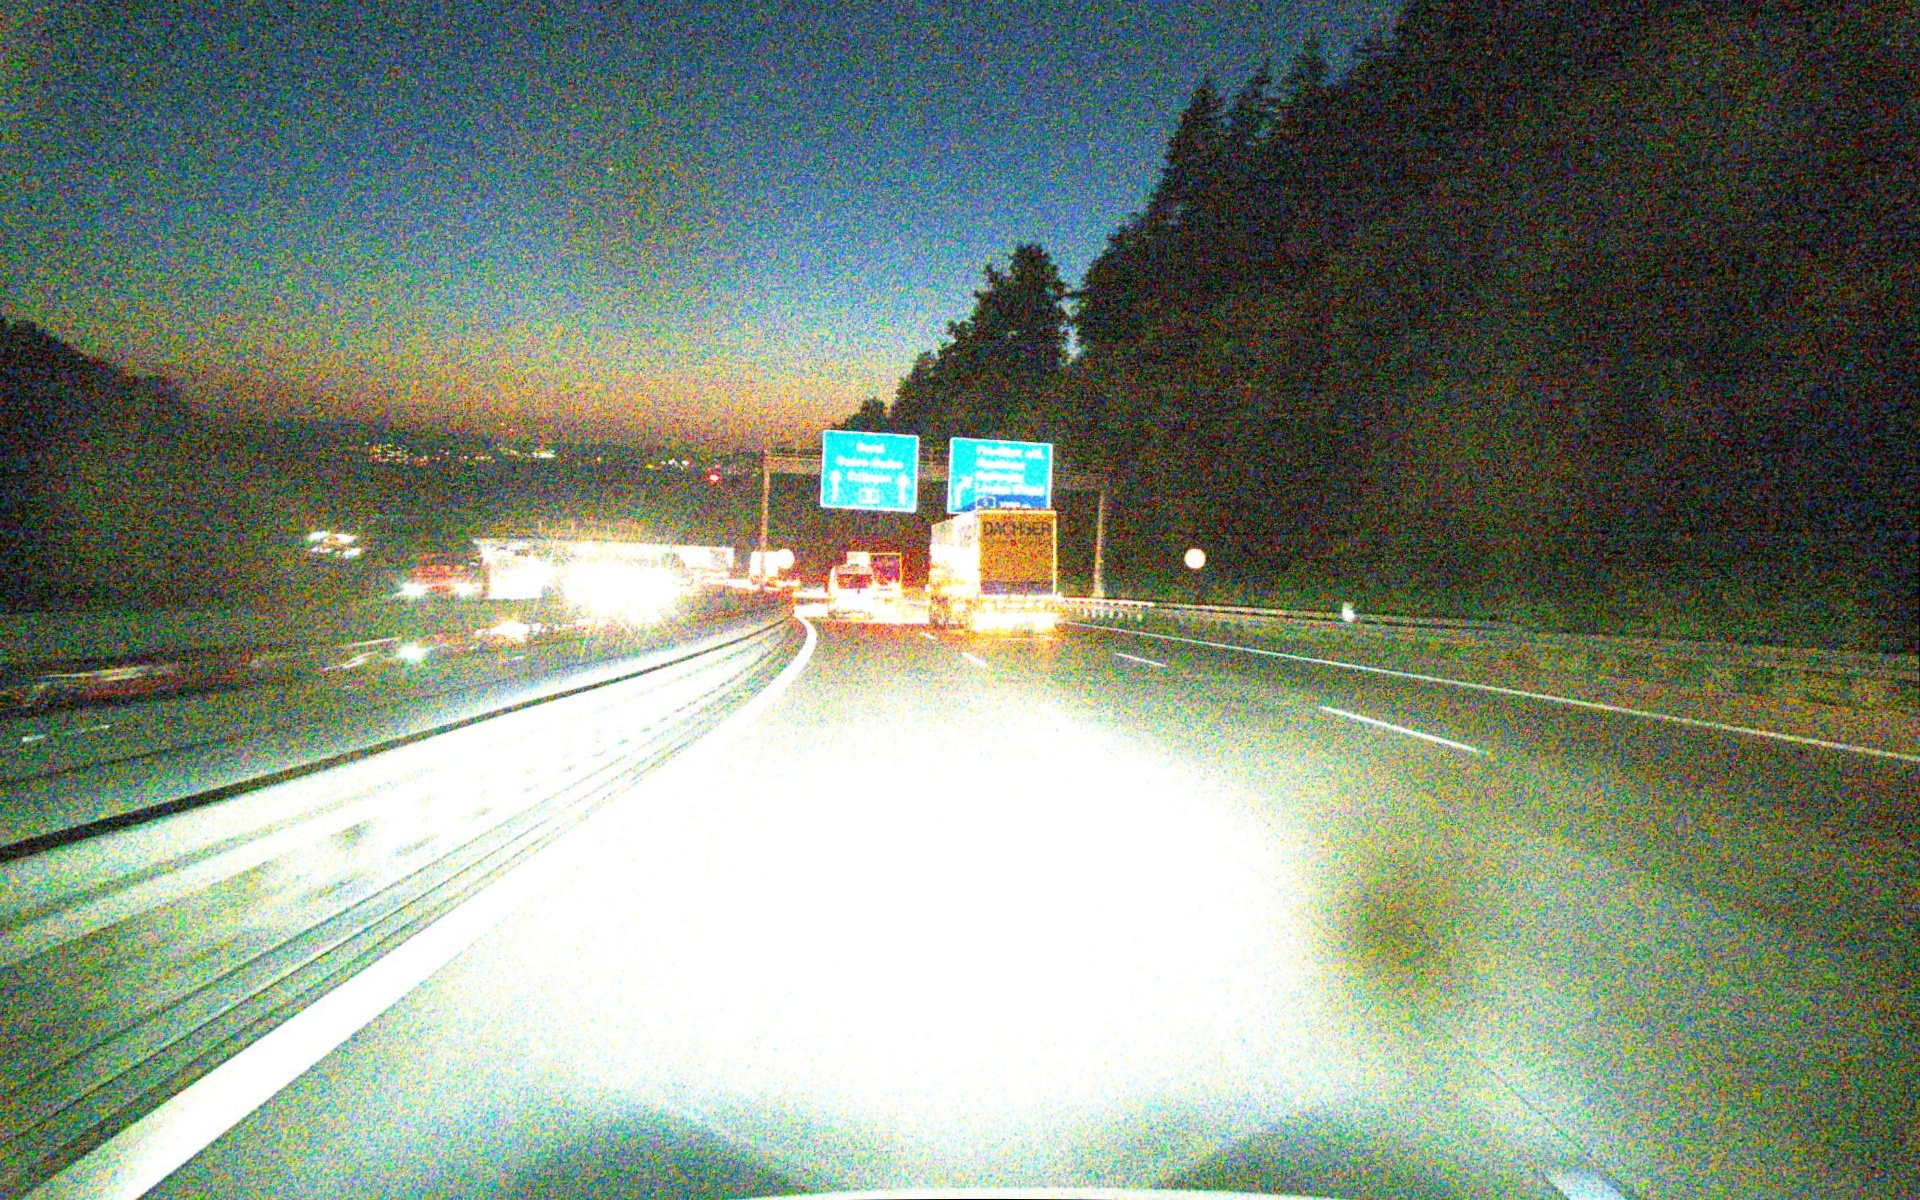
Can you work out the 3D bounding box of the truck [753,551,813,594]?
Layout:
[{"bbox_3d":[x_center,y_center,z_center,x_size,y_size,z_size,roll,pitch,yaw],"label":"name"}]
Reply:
[{"bbox_3d":[-21.190,-3.448,196.453,3.851,4.707,20.935,-1,2,-15],"label":"truck"}]

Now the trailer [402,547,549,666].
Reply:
[{"bbox_3d":[-19.591,0.180,67.825,3.369,4.314,12.816,-2,1,-6],"label":"trailer"}]

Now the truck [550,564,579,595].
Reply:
[{"bbox_3d":[-44.481,-2.307,185.906,2.340,3.316,7.681,-2,2,-19],"label":"truck"}]

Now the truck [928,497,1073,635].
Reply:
[{"bbox_3d":[1.083,-1.099,60.354,3.414,4.207,18.692,1,0,-4],"label":"truck"}]

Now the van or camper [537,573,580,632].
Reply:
[{"bbox_3d":[-24.075,0.107,99.288,2.229,3.438,5.678,-1,1,-12],"label":"van or camper"}]

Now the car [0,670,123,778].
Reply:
[{"bbox_3d":[-15.826,2.019,27.525,1.800,1.467,3.999,-1,1,-1],"label":"car"}]

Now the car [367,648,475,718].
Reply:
[{"bbox_3d":[-13.345,2.019,41.156,1.569,1.467,3.997,-1,1,-4],"label":"car"}]

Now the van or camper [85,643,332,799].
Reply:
[{"bbox_3d":[-12.008,1.835,26.875,1.954,2.049,5.216,-1,1,-5],"label":"van or camper"}]

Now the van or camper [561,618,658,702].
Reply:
[{"bbox_3d":[-9.565,1.576,45.431,1.990,2.049,4.571,-1,1,-5],"label":"van or camper"}]

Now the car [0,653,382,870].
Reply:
[{"bbox_3d":[-8.110,1.576,17.851,2.096,1.735,5.110,-1,1,-3],"label":"car"}]

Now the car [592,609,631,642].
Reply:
[{"bbox_3d":[-17.309,1.258,82.313,1.571,1.467,3.993,-3,1,-8],"label":"car"}]

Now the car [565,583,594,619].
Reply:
[{"bbox_3d":[-26.399,0.048,114.888,1.801,2.412,5.431,-1,1,-12],"label":"car"}]

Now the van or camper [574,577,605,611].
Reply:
[{"bbox_3d":[-31.579,-0.512,140.813,2.404,2.809,6.465,-1,1,-14],"label":"van or camper"}]

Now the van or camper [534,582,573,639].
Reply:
[{"bbox_3d":[-22.619,0.542,92.184,1.801,3.023,6.382,-1,1,-12],"label":"van or camper"}]

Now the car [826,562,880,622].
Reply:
[{"bbox_3d":[-5.140,-0.388,79.034,2.292,2.686,5.241,2,0,-6],"label":"car"}]

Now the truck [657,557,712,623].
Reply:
[{"bbox_3d":[-16.001,-0.560,96.458,2.603,3.654,8.539,1,0,-6],"label":"truck"}]

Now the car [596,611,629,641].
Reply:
[{"bbox_3d":[-17.896,1.338,85.302,1.577,1.505,4.062,0,-1,-11],"label":"car"}]

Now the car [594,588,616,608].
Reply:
[{"bbox_3d":[-36.653,-0.200,170.677,1.961,1.993,4.967,-2,0,-15],"label":"car"}]

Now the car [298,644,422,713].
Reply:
[{"bbox_3d":[-14.924,1.923,41.343,1.568,1.467,4.000,2,0,0],"label":"car"}]

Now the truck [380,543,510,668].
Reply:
[{"bbox_3d":[-18.936,0.166,61.244,3.353,4.296,6.274,-2,1,-6],"label":"truck"}]

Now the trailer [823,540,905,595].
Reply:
[{"bbox_3d":[-7.847,-2.705,132.501,2.813,4.137,13.127,-1,3,-20],"label":"trailer"}]

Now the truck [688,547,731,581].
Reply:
[{"bbox_3d":[-35.726,-5.164,235.338,3.294,4.553,13.832,2,1,-20],"label":"truck"}]

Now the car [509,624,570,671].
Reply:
[{"bbox_3d":[-14.862,1.655,58.623,1.570,1.467,4.377,-1,1,-8],"label":"car"}]

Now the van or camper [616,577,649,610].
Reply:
[{"bbox_3d":[-28.341,-0.590,142.964,2.404,2.809,6.465,-1,1,-14],"label":"van or camper"}]
